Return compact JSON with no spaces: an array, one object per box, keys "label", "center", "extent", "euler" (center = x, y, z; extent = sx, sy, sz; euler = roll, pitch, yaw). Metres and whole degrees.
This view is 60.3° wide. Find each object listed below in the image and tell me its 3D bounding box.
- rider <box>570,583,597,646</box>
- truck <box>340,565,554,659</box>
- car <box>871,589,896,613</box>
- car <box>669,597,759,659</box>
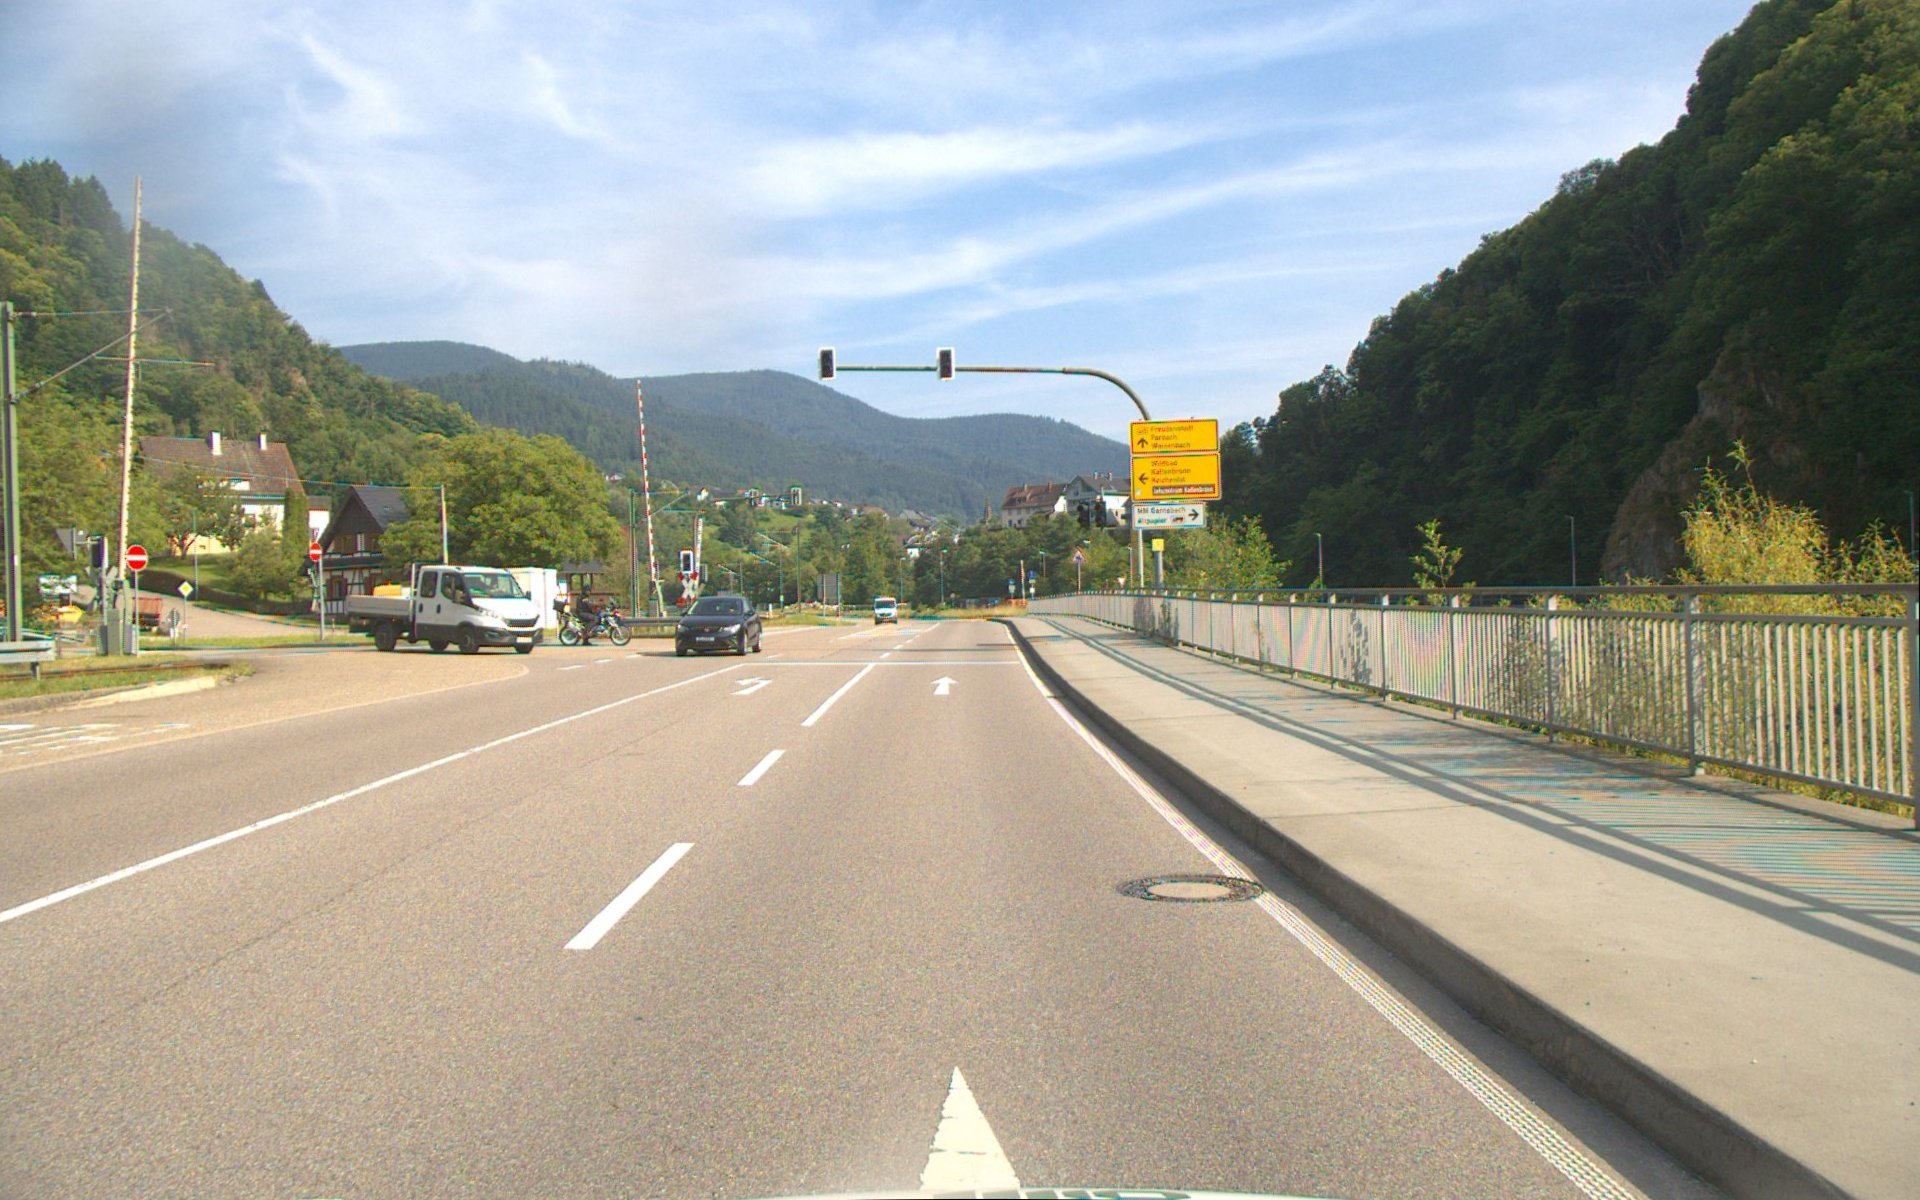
[{"label":"rider","center":[-11.257,0.430,49.395],"extent":[0.740,1.851,0.740],"euler":[0,1,-16]},{"label":"truck","center":[-13.384,0.309,42.980],"extent":[5.875,2.306,1.995],"euler":[0,0,32]},{"label":"car","center":[-6.518,0.075,141.143],"extent":[1.953,2.049,4.556],"euler":[0,0,-1]},{"label":"car","center":[-6.101,0.658,41.379],"extent":[1.737,1.441,3.784],"euler":[0,0,-1]}]
